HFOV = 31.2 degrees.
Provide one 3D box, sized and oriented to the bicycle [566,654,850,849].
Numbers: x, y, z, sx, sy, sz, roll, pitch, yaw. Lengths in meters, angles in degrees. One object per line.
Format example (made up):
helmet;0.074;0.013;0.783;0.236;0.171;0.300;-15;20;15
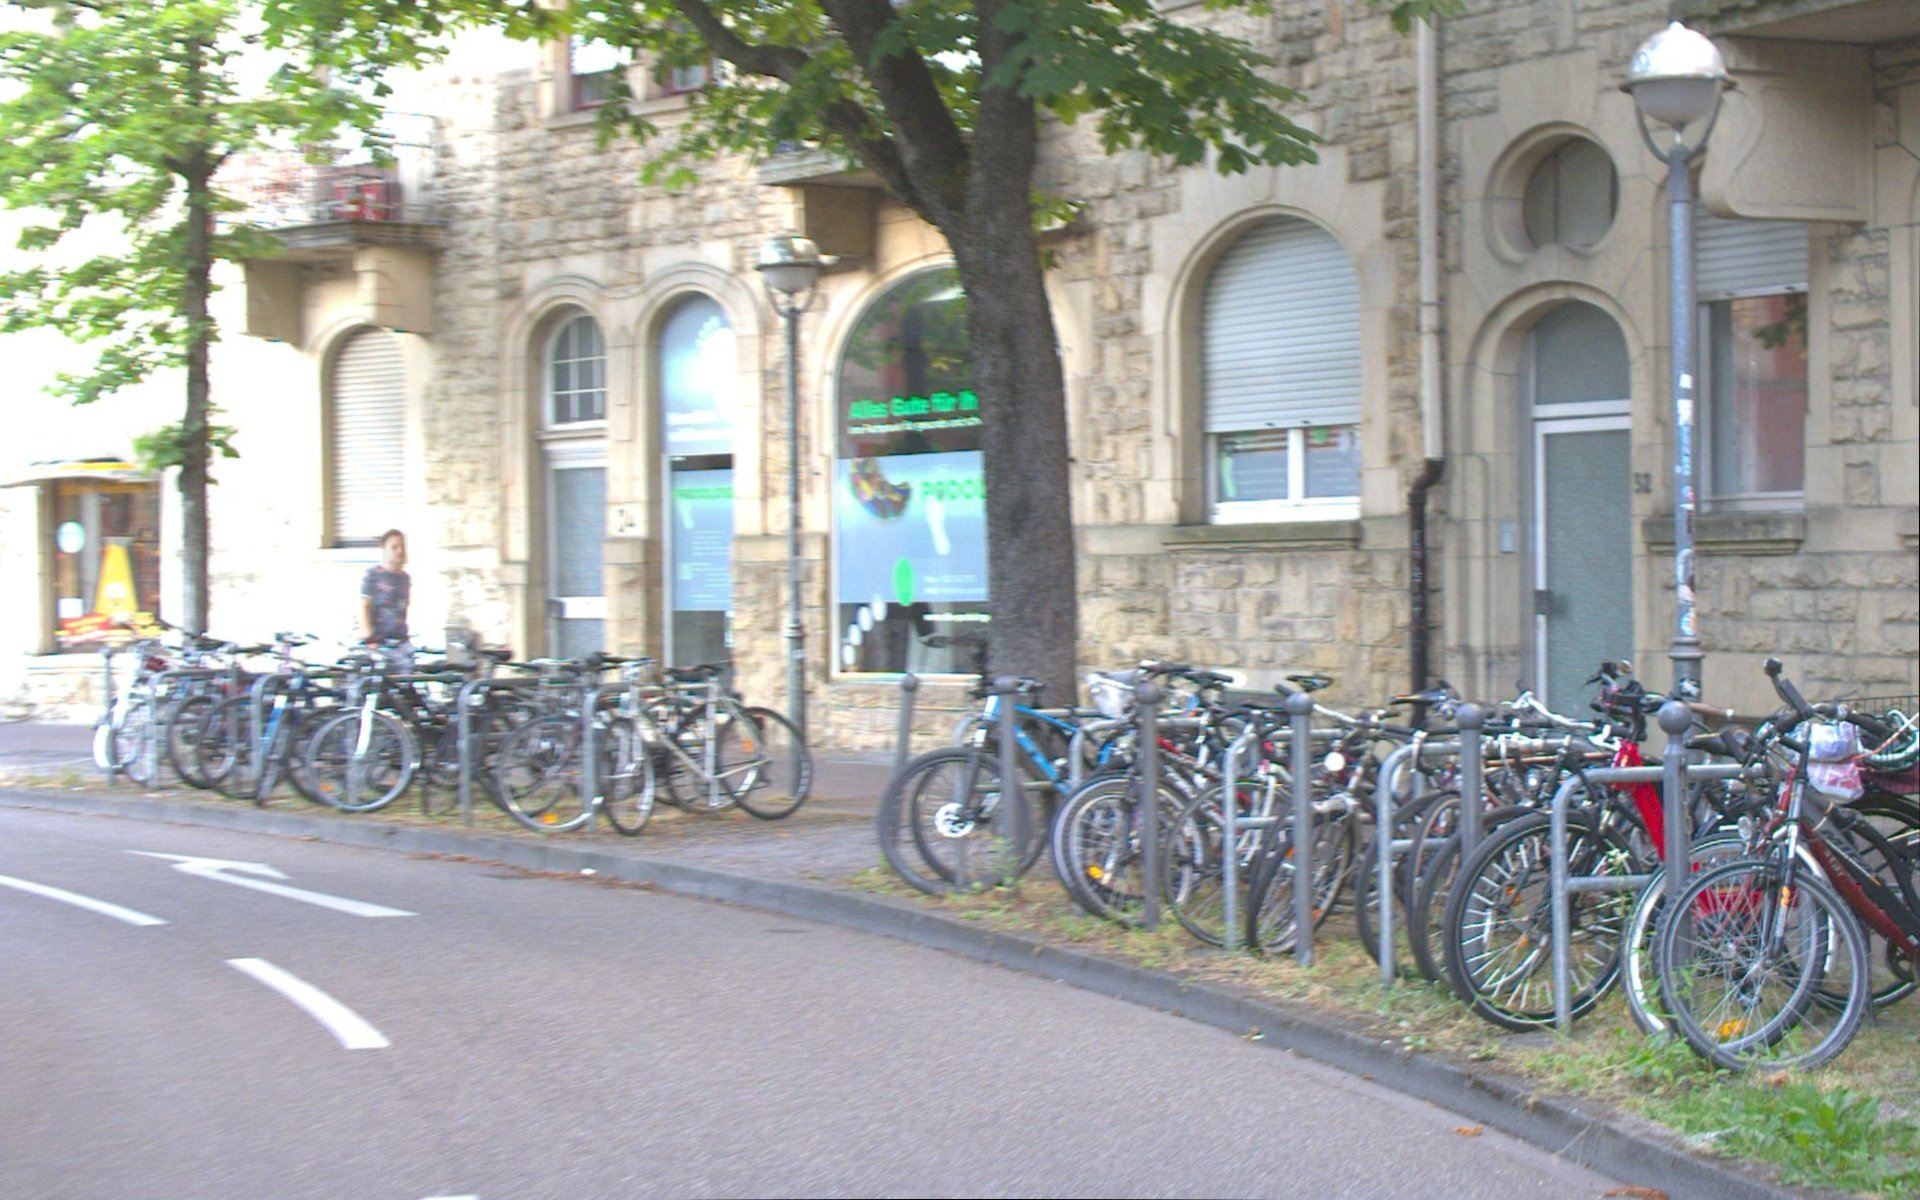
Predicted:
bicycle;-1.482;0.878;20.406;1.670;1.074;0.486;-1;0;-37

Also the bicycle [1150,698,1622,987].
bicycle;1.697;0.940;13.627;1.849;1.048;0.419;-1;0;-19

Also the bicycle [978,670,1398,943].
bicycle;1.028;0.906;15.403;1.849;1.141;0.419;-1;0;-19

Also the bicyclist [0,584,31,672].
bicyclist;-15.813;0.461;57.065;0.697;1.456;0.784;0;0;-10

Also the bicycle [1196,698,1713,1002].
bicycle;1.899;0.934;13.183;1.914;1.057;0.535;-1;0;-18

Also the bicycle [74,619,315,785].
bicycle;-6.014;0.780;27.064;0.650;1.232;1.788;0;1;43

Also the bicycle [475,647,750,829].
bicycle;-2.194;0.858;21.781;1.670;1.074;0.486;-1;0;-29

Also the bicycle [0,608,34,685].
bicycle;-15.818;0.760;57.086;0.697;1.232;1.863;0;0;-10

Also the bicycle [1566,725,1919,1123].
bicycle;2.685;0.907;9.984;1.790;1.060;0.448;-1;0;-15

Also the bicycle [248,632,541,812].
bicycle;-3.871;0.816;23.616;1.886;1.158;0.640;-1;0;-35

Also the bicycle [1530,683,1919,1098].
bicycle;2.649;0.847;10.394;1.790;1.164;0.448;-1;0;-15

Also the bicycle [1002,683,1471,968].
bicycle;1.181;0.955;14.738;1.849;1.088;0.419;-1;-19;-19

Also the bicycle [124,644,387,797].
bicycle;-5.161;0.865;25.260;0.699;1.035;1.802;0;1;44

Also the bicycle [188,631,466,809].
bicycle;-4.423;0.820;24.128;0.640;1.158;1.887;0;1;44

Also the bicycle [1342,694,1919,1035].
bicycle;2.310;0.882;11.823;1.914;1.061;0.553;-1;0;-17

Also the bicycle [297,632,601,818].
bicycle;-3.409;0.817;23.011;1.886;1.158;0.704;-1;0;-35

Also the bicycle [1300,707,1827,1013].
bicycle;2.172;0.916;12.358;1.849;1.011;0.419;-1;0;-15

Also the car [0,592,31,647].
car;-27.203;0.545;94.741;1.944;1.477;4.320;-1;0;2

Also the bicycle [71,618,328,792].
bicycle;-5.720;0.768;25.922;0.699;1.232;1.788;0;1;44

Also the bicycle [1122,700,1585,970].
bicycle;1.597;0.930;13.901;1.849;0.996;0.419;-1;0;-19

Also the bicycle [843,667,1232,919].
bicycle;0.389;0.913;16.697;1.879;1.136;0.492;1;3;-32

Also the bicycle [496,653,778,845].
bicycle;-1.935;0.876;20.711;1.670;1.074;0.486;-1;0;-37

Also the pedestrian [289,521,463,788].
pedestrian;-4.703;0.416;27.659;1.011;2.078;1.060;-2;2;-33

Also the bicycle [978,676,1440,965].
bicycle;1.082;0.952;14.996;1.849;1.126;0.419;-1;-19;-19

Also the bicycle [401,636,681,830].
bicycle;-2.660;0.830;21.860;1.670;1.124;0.486;-1;7;-28

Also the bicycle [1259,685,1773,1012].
bicycle;2.050;0.895;12.661;1.849;1.113;0.419;-1;0;-15

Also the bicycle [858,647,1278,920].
bicycle;0.512;0.864;16.277;1.878;1.213;0.492;-1;-6;-19

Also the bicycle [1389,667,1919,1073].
bicycle;2.383;0.839;11.081;1.914;1.196;0.553;-1;0;-17

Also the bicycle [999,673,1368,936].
bicycle;1.059;0.918;15.967;1.850;1.100;0.573;-1;1;-42
